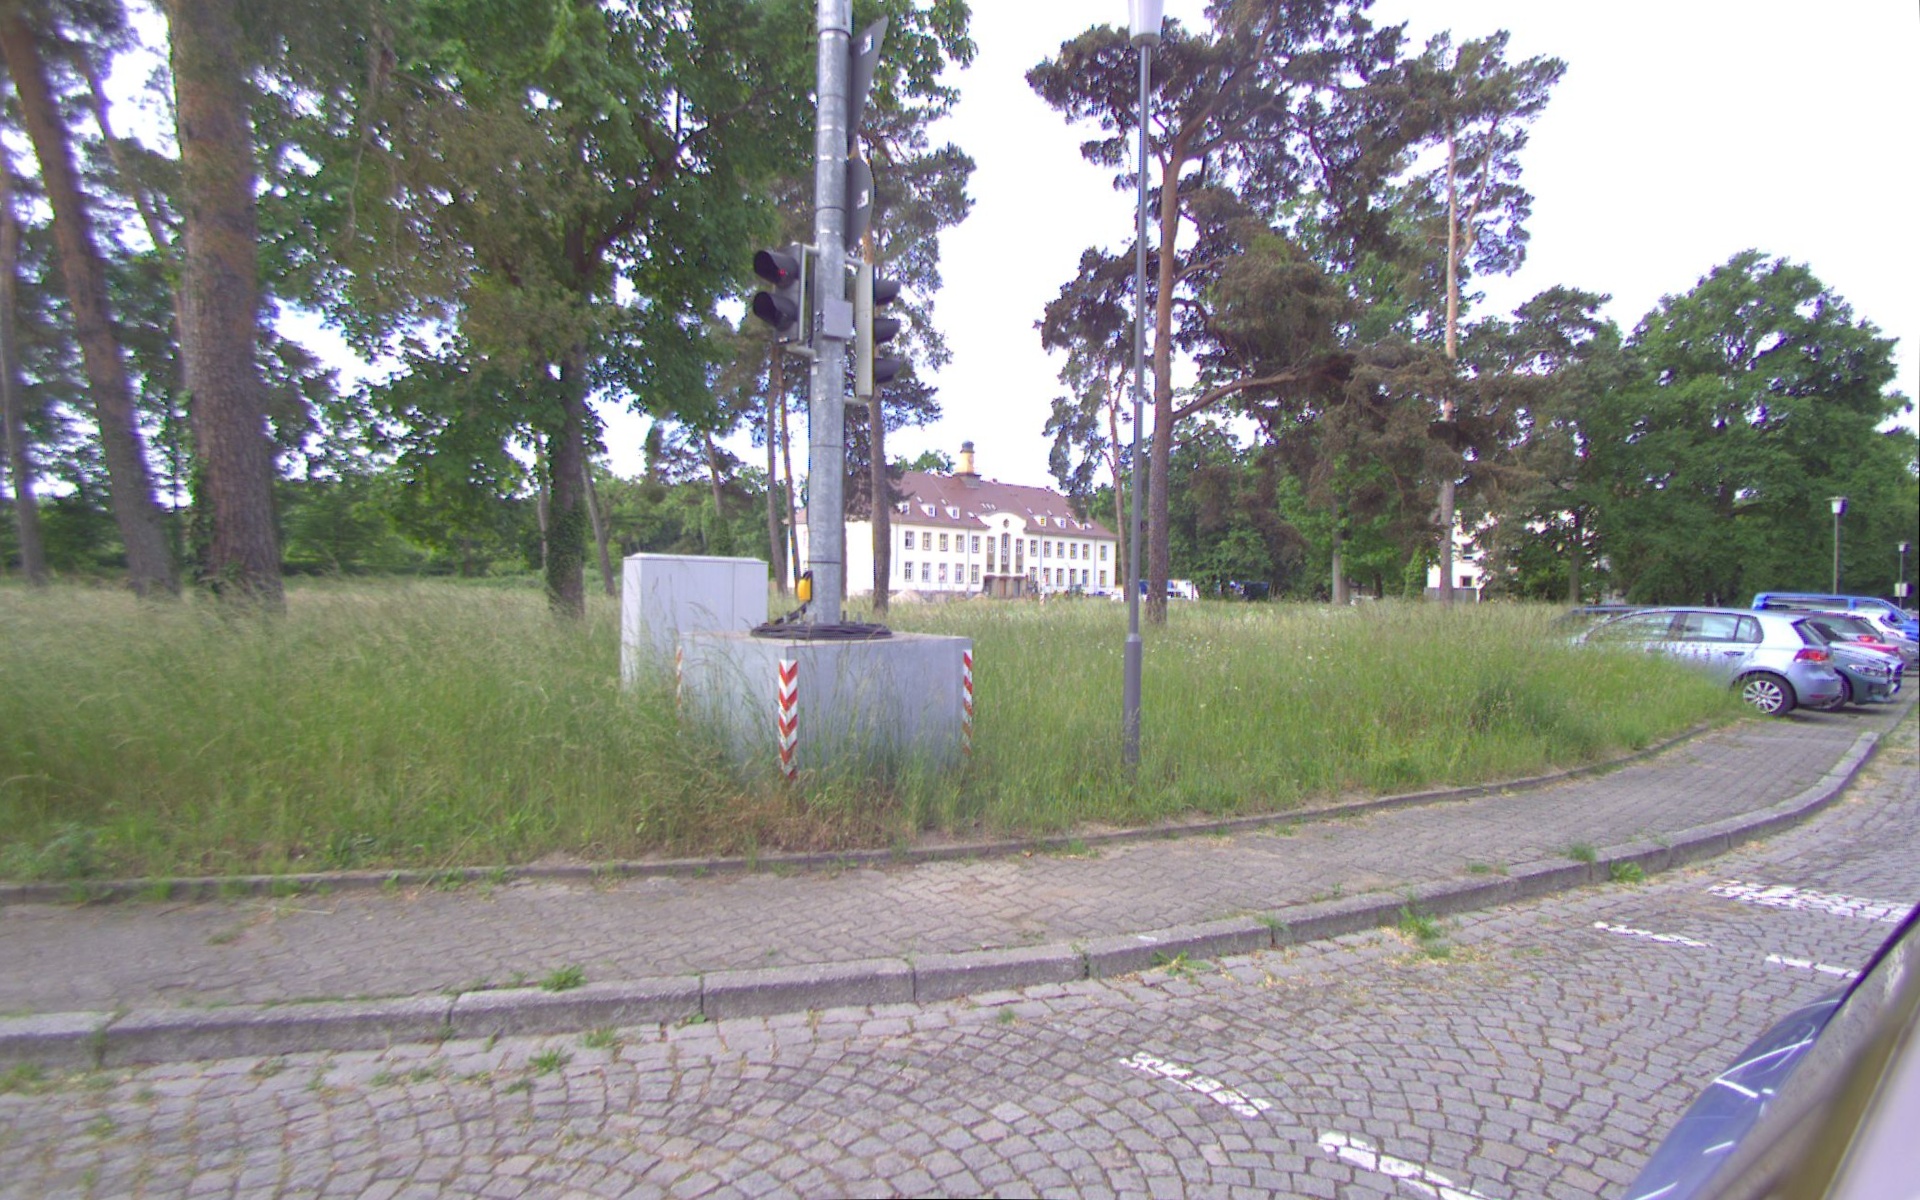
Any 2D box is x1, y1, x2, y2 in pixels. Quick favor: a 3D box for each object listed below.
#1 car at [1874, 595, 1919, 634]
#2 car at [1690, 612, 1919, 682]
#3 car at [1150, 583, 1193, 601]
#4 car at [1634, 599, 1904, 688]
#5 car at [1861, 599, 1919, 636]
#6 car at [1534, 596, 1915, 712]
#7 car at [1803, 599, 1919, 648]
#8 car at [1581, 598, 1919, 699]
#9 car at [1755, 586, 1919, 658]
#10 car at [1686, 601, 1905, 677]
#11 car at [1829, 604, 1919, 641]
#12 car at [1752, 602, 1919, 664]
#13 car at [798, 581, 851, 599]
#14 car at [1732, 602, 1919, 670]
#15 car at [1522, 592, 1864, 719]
[{"bbox_3d":[51.572,0.811,53.976,1.965,2.039,3.993,1,1,-42],"label":"car"},{"bbox_3d":[17.768,0.930,21.354,1.469,1.222,3.596,1,1,-42],"label":"car"},{"bbox_3d":[24.357,-0.906,116.365,5.132,2.039,2.152,0,1,-41],"label":"car"},{"bbox_3d":[15.927,0.781,20.071,1.769,1.470,3.967,1,1,-43],"label":"car"},{"bbox_3d":[48.330,0.885,51.111,1.965,1.784,4.004,1,1,-42],"label":"car"},{"bbox_3d":[12.230,0.750,16.451,4.758,1.501,1.734,2,1,44],"label":"car"},{"bbox_3d":[33.684,0.850,37.147,1.966,1.630,3.992,1,1,-43],"label":"car"},{"bbox_3d":[14.331,0.773,18.522,1.782,1.501,4.763,1,1,-43],"label":"car"},{"bbox_3d":[27.480,0.626,30.913,1.966,1.963,4.743,1,2,-43],"label":"car"},{"bbox_3d":[19.365,0.838,23.556,1.770,1.524,3.779,1,1,-45],"label":"car"},{"bbox_3d":[40.856,0.969,44.351,1.966,1.549,3.991,1,-1,-43],"label":"car"},{"bbox_3d":[23.620,0.844,27.227,1.609,1.470,3.405,1,1,-42],"label":"car"},{"bbox_3d":[-15.479,-1.135,115.569,6.164,1.882,2.307,2,1,38],"label":"car"},{"bbox_3d":[21.772,0.838,25.134,1.788,1.474,3.847,1,1,-40],"label":"car"},{"bbox_3d":[10.496,0.702,14.690,1.579,1.444,3.768,1,2,-43],"label":"car"}]
